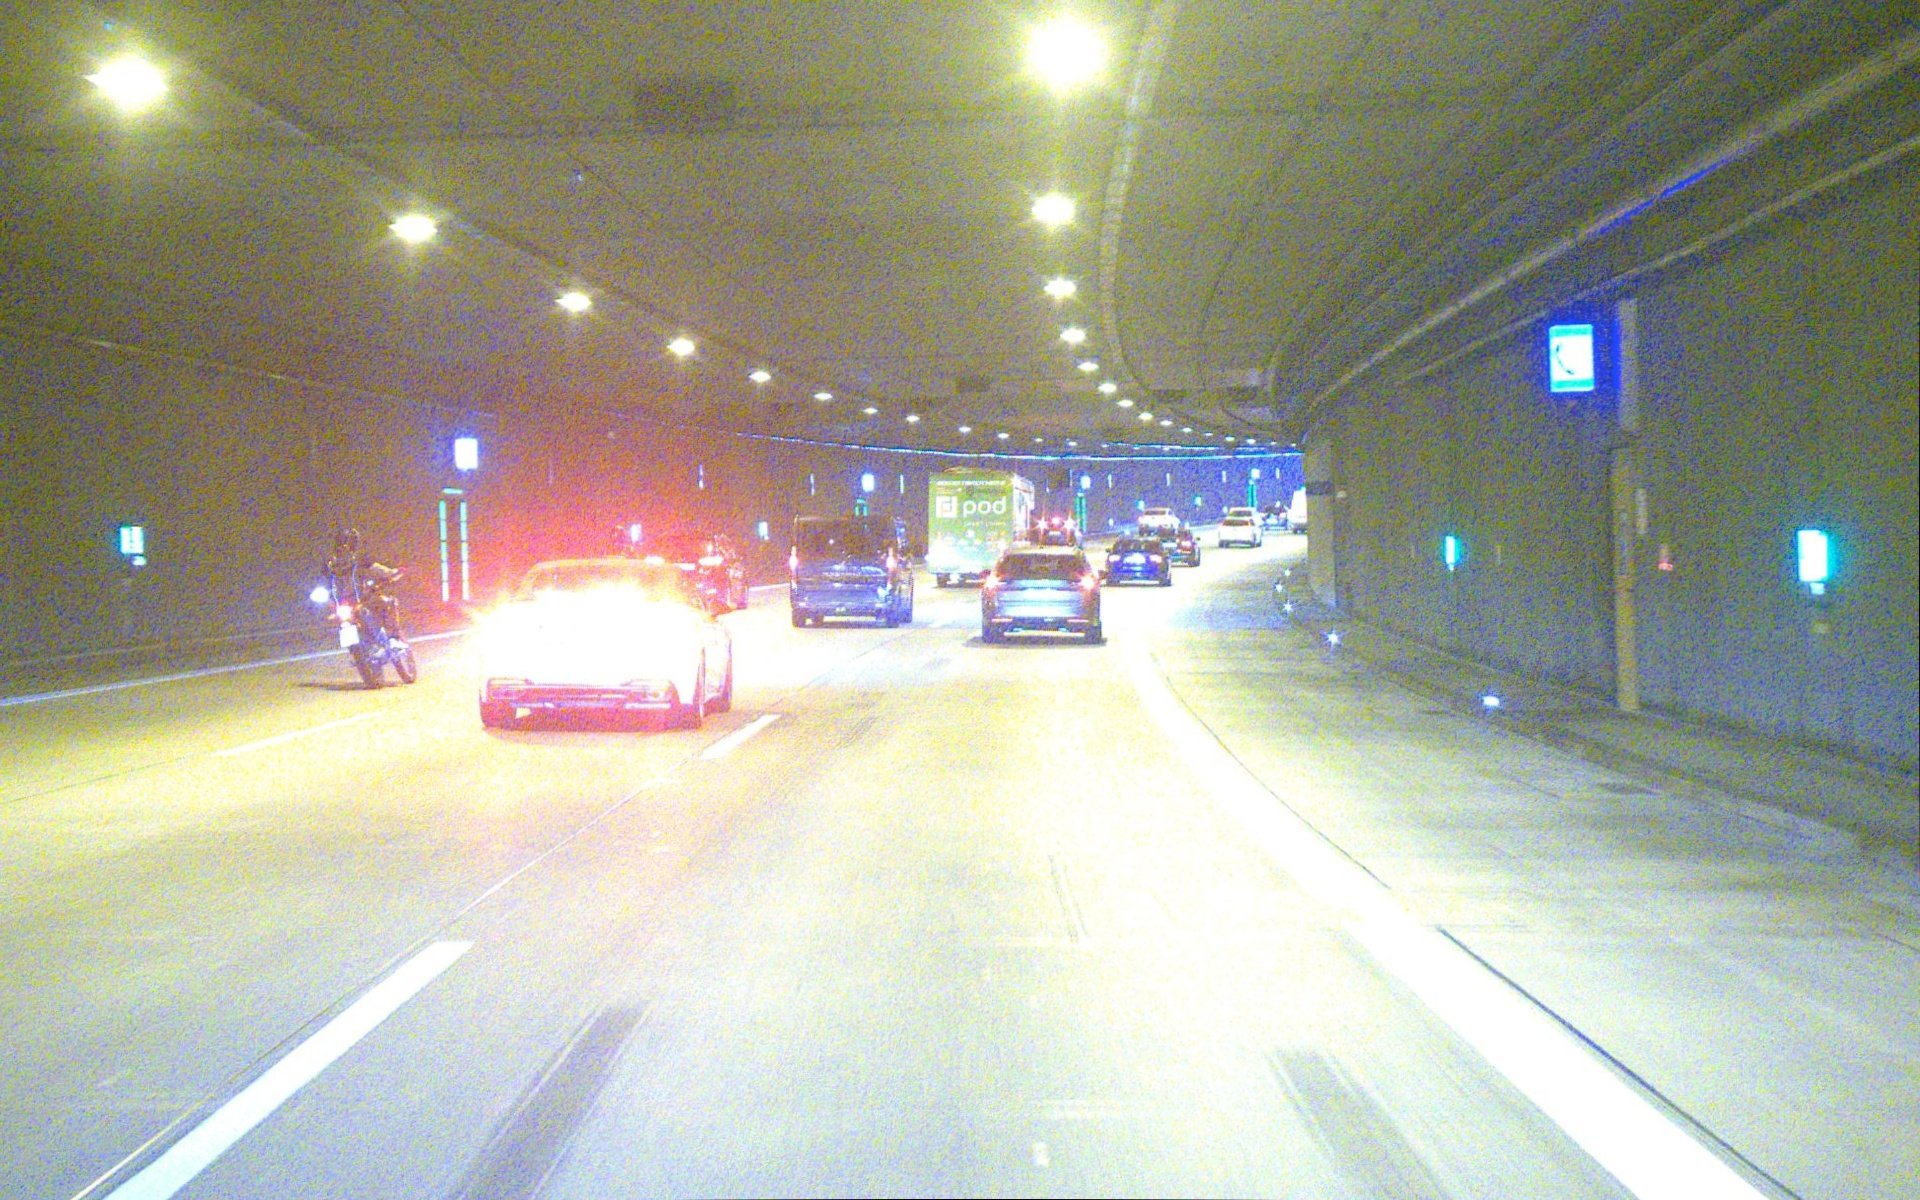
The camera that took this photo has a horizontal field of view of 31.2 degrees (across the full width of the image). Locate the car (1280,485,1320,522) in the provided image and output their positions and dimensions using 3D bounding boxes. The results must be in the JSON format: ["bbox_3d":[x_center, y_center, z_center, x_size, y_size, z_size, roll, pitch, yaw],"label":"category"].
[{"bbox_3d":[19.338,-5.462,195.400,1.994,2.007,3.998,1,0,10],"label":"car"}]

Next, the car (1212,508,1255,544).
[{"bbox_3d":[13.019,-3.507,163.507,1.931,1.637,3.999,1,0,6],"label":"car"}]

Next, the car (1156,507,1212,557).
[{"bbox_3d":[8.214,-2.488,125.982,1.950,1.766,3.999,1,0,5],"label":"car"}]

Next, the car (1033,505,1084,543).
[{"bbox_3d":[4.355,-3.336,151.556,1.931,1.637,3.999,0,1,7],"label":"car"}]

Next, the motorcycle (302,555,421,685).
[{"bbox_3d":[-6.176,0.181,35.600,0.683,1.292,2.398,0,1,3],"label":"motorcycle"}]

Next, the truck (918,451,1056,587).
[{"bbox_3d":[0.825,-2.235,96.346,3.040,3.660,7.391,0,1,7],"label":"truck"}]

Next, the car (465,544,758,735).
[{"bbox_3d":[-2.901,0.271,29.687,1.702,1.414,5.060,0,2,4],"label":"car"}]

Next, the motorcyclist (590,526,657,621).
[{"bbox_3d":[-5.212,-0.397,53.366,0.806,1.443,1.865,1,0,2],"label":"motorcyclist"}]

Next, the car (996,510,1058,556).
[{"bbox_3d":[2.461,-2.437,125.330,1.994,1.626,3.999,1,1,5],"label":"car"}]

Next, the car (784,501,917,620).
[{"bbox_3d":[-1.885,-0.730,60.264,1.910,1.937,3.871,0,3,4],"label":"car"}]

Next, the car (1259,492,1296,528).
[{"bbox_3d":[18.845,-5.340,204.118,1.994,2.007,3.999,1,0,8],"label":"car"}]

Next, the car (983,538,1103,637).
[{"bbox_3d":[1.310,-0.206,52.909,1.742,1.459,3.871,0,1,3],"label":"car"}]

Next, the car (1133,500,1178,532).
[{"bbox_3d":[10.535,-4.537,185.158,1.931,1.637,3.998,1,0,11],"label":"car"}]

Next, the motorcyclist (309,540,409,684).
[{"bbox_3d":[-6.190,0.120,35.451,0.777,1.447,1.069,1,0,3],"label":"motorcyclist"}]

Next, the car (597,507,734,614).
[{"bbox_3d":[-5.669,-0.778,66.578,1.994,2.007,3.999,0,1,5],"label":"car"}]

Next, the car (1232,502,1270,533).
[{"bbox_3d":[16.018,-4.551,189.095,1.994,1.626,3.999,1,0,7],"label":"car"}]

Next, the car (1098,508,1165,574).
[{"bbox_3d":[4.923,-1.695,98.308,1.857,1.848,4.000,0,1,4],"label":"car"}]

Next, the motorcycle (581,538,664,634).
[{"bbox_3d":[-5.223,-0.224,53.366,0.926,1.429,2.964,1,0,1],"label":"motorcycle"}]
